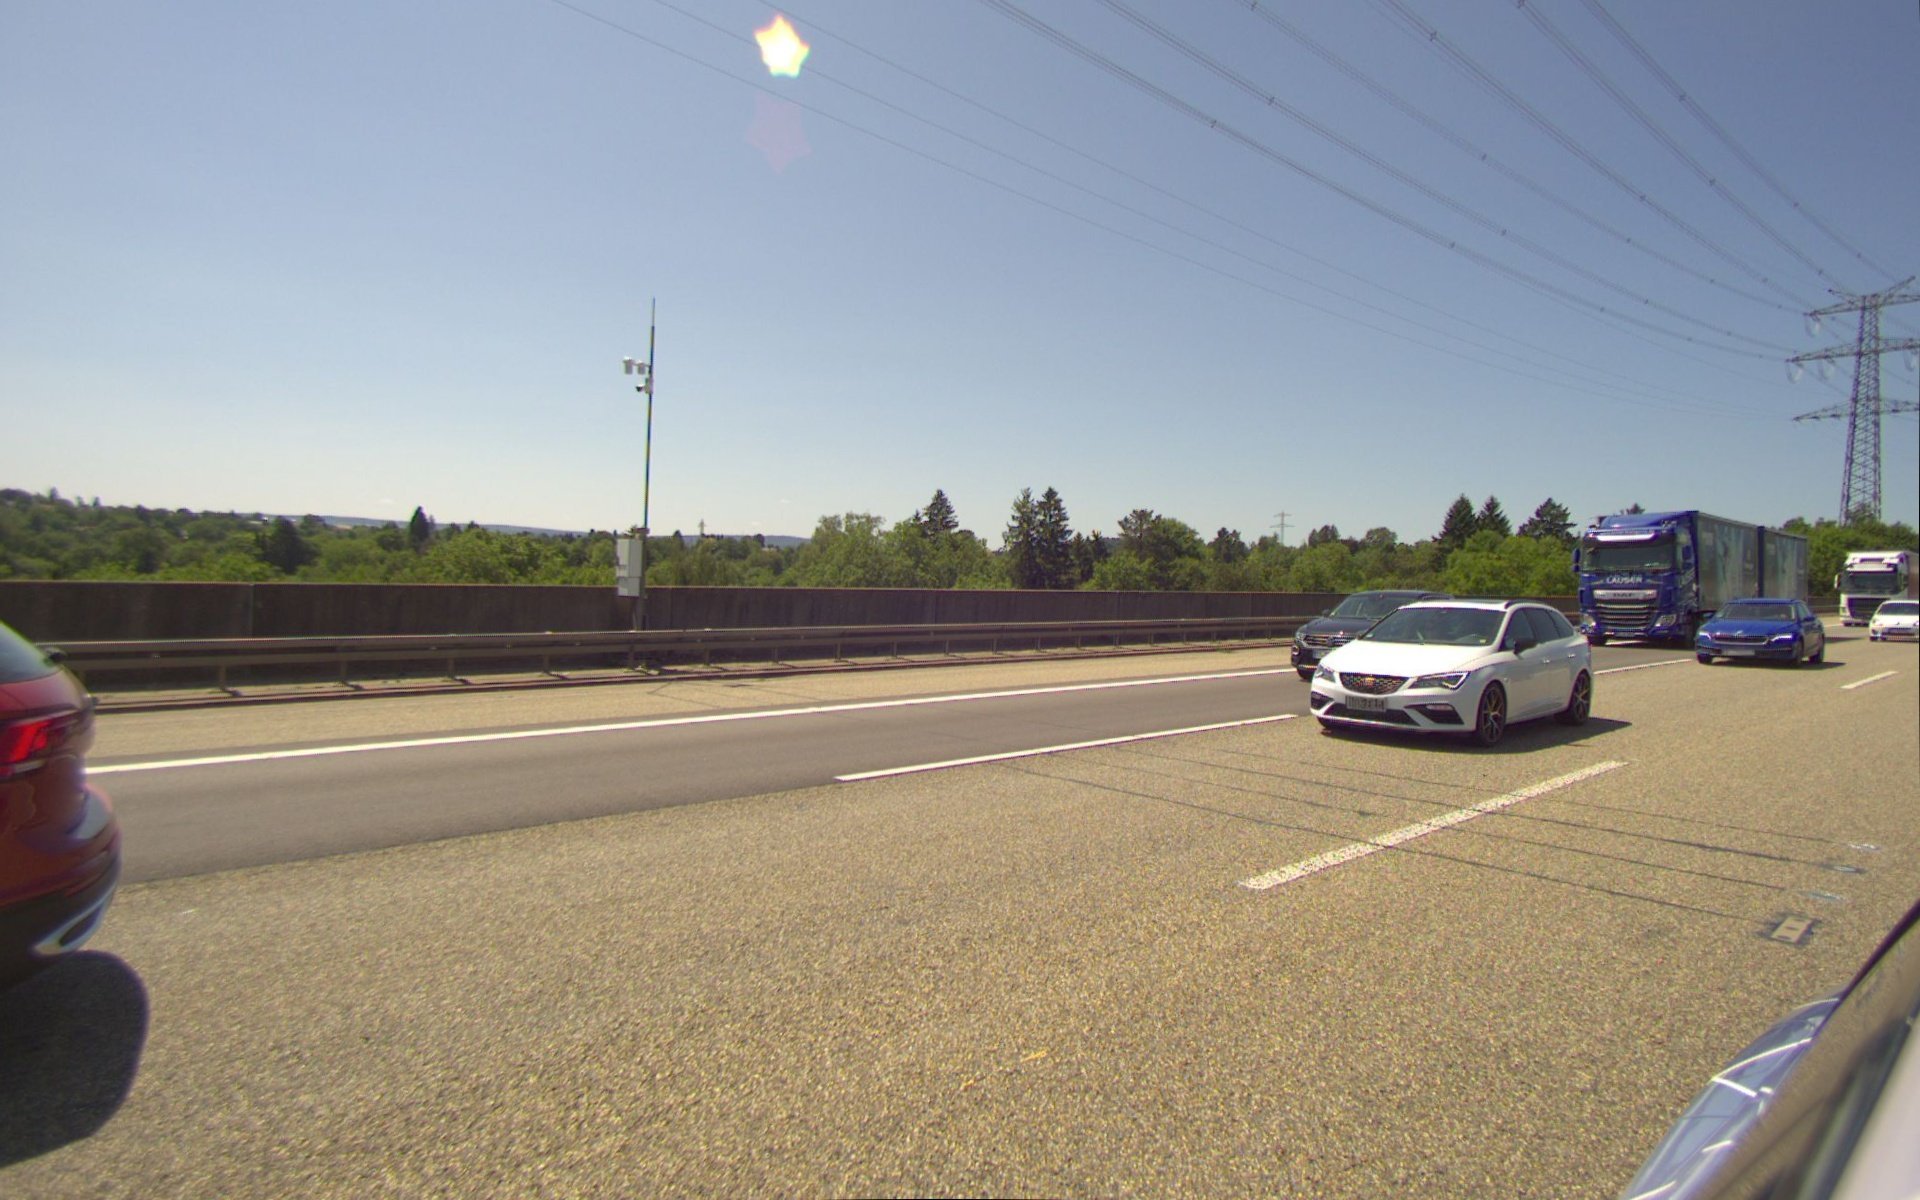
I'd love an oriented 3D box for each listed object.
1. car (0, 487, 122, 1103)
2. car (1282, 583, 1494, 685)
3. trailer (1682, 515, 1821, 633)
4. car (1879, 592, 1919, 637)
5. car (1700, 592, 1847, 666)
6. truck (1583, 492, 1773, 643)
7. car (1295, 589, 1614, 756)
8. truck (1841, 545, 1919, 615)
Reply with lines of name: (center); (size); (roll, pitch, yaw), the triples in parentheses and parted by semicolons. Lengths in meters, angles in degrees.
car: (-4.564, 0.526, 2.233); (4.151, 1.683, 1.778); (0, 1, -41)
car: (7.378, 0.493, 17.294); (4.034, 1.546, 1.739); (0, 0, -41)
trailer: (29.827, -0.916, 37.988); (8.331, 3.994, 2.570); (0, 1, -41)
car: (34.210, 0.500, 36.151); (4.027, 1.522, 1.760); (0, 1, -44)
car: (17.987, 0.565, 22.323); (4.135, 1.463, 1.739); (0, 1, -40)
truck: (22.831, -0.937, 31.876); (10.264, 4.117, 2.527); (0, 1, -41)
car: (5.563, 0.636, 11.165); (4.003, 1.508, 1.841); (0, 0, -42)
truck: (52.036, -1.064, 56.419); (10.777, 3.604, 2.982); (-1, 0, -41)
